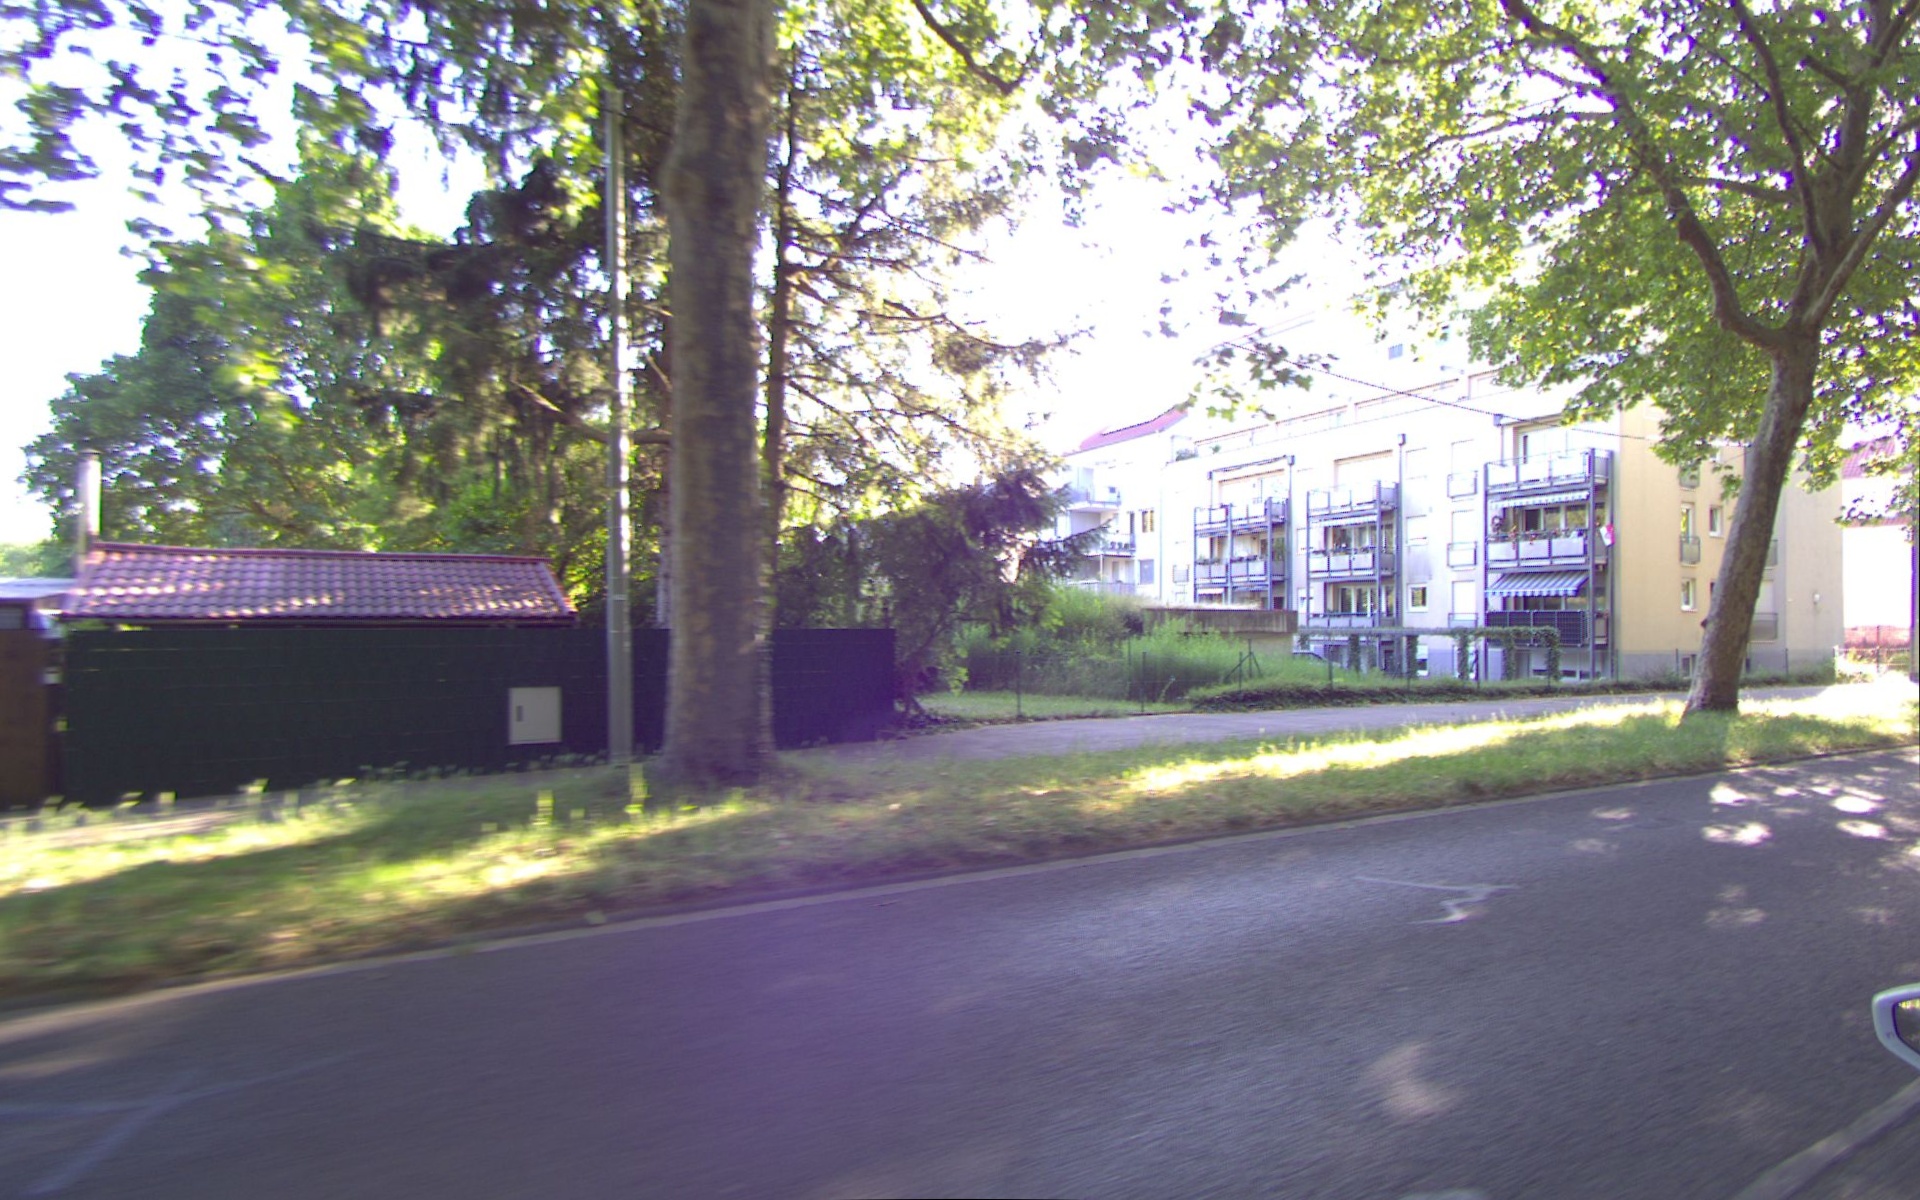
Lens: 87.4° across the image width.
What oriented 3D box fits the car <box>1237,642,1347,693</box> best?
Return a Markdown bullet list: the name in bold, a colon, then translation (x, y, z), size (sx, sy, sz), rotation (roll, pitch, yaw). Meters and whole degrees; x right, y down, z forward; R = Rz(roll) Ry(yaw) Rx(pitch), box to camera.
- **car**: translation (12.812, 2.565, 38.732), size (3.957, 1.737, 1.982), rotation (1, 0, -33)
